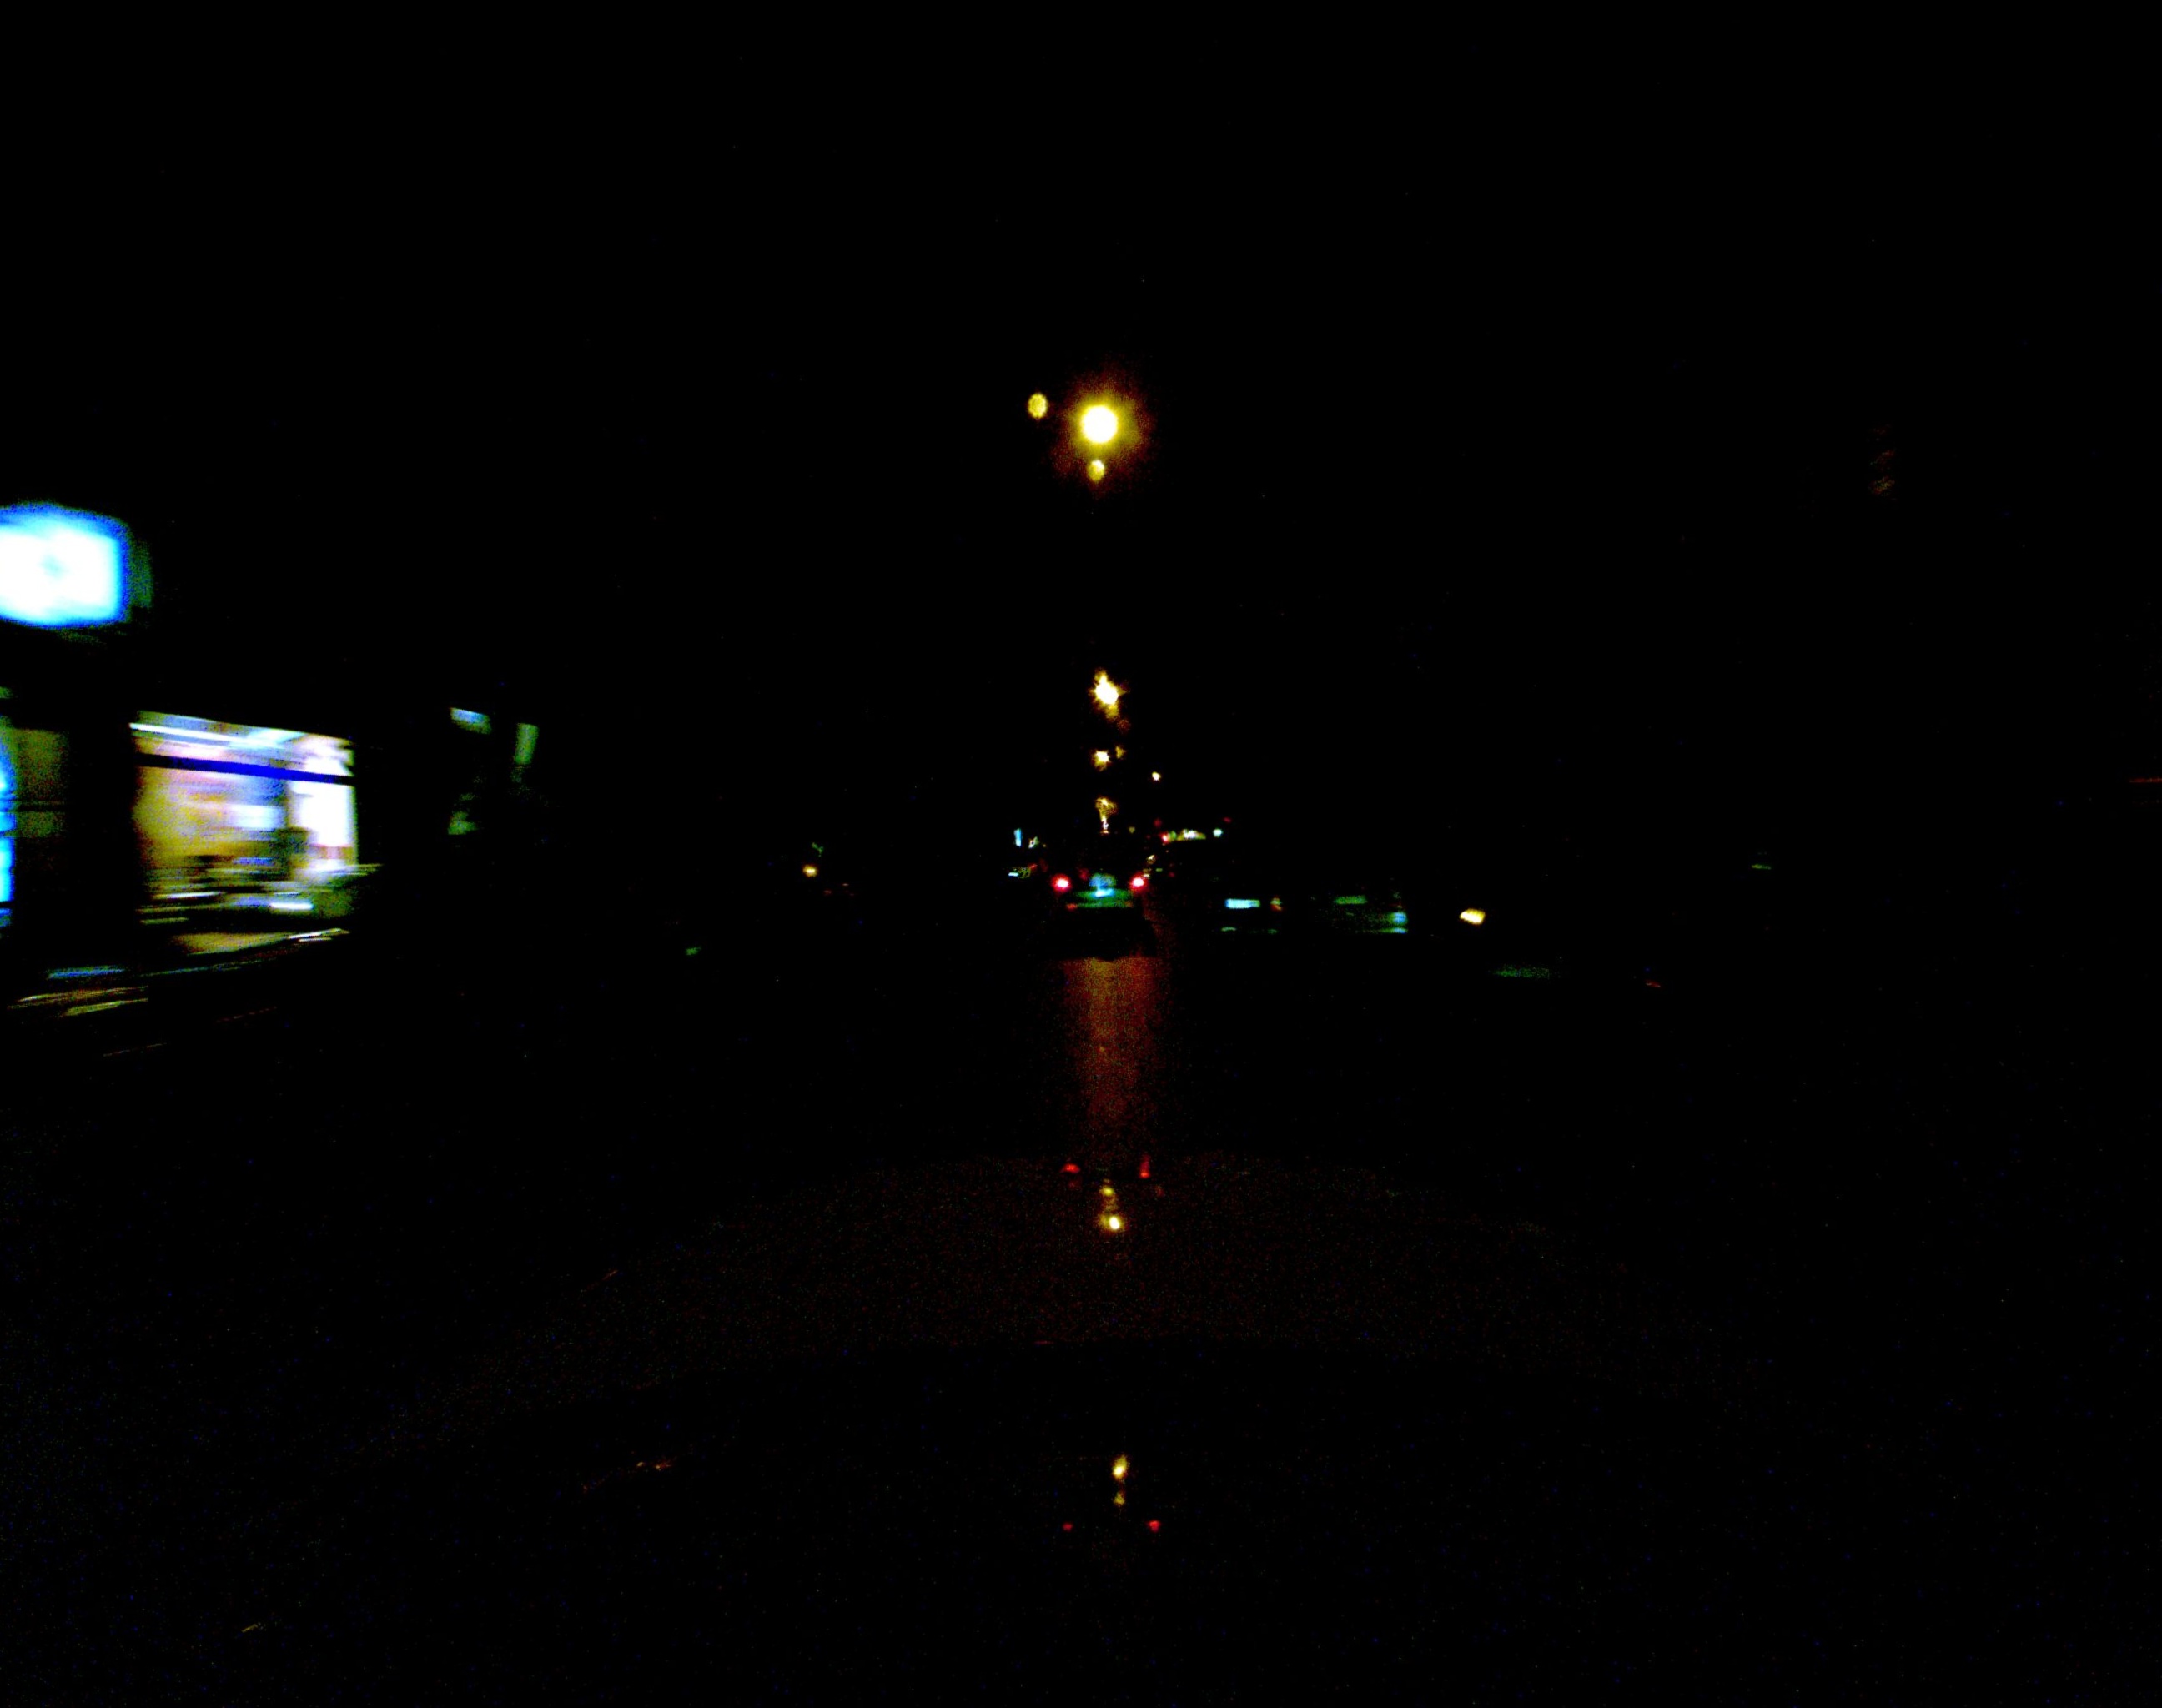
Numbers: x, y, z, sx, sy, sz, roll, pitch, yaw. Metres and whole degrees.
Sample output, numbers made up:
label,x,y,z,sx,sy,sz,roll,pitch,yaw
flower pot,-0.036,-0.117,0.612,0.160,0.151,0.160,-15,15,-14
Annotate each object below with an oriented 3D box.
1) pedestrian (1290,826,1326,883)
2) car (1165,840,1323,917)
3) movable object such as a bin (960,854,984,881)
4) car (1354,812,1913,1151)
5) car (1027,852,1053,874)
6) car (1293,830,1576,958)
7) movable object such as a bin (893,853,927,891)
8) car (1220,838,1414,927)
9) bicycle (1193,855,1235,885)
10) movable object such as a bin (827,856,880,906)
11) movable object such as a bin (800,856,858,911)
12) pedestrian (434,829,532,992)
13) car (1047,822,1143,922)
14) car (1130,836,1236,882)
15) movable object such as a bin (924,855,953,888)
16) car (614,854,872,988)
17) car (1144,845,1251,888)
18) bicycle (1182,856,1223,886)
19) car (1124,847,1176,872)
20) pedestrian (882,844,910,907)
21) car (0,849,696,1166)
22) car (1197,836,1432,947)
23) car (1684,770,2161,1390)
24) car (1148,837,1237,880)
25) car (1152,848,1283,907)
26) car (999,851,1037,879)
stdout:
label,x,y,z,sx,sy,sz,roll,pitch,yaw
pedestrian,7.824,0.010,28.087,0.866,1.856,0.993,-4,0,-1
car,3.832,0.506,18.910,3.671,1.580,1.574,-1,0,-38
movable object such as a bin,-5.891,0.726,44.000,1.043,1.398,1.159,0,0,4
car,3.973,0.563,5.675,4.016,1.552,1.785,-3,0,-34
car,-2.982,0.638,60.062,1.808,1.557,4.074,-1,0,-2
car,5.076,0.473,11.551,4.015,1.452,1.671,-3,0,-32
movable object such as a bin,-6.587,0.669,31.376,0.970,1.420,1.134,0,0,4
car,4.798,0.507,16.488,3.661,1.580,1.579,-1,0,-27
bicycle,5.060,0.605,31.173,0.521,1.076,1.810,-3,0,-29
movable object such as a bin,-6.667,0.783,23.920,1.136,1.420,1.250,0,0,4
movable object such as a bin,-6.833,0.781,22.144,1.136,1.420,1.155,0,0,4
pedestrian,-6.760,0.621,9.227,0.637,1.781,0.550,-2,0,2
car,0.360,0.394,19.084,1.986,2.050,4.001,-1,-1,2
car,4.945,0.206,39.307,4.813,2.048,2.047,-2,0,-29
movable object such as a bin,-6.079,0.735,34.805,0.970,1.398,1.134,0,0,4
car,-4.366,0.755,11.338,1.680,1.455,4.317,0,0,1
car,4.786,0.494,33.398,4.007,1.492,1.720,-4,0,-25
bicycle,4.592,0.635,30.897,0.521,1.076,1.810,-3,0,-29
car,5.078,0.428,59.765,3.581,1.590,1.588,-4,0,-35
pedestrian,-5.390,0.616,23.766,0.589,1.820,0.795,1,0,2
car,-4.664,0.752,6.054,1.597,1.552,4.027,0,0,1
car,3.841,0.528,13.217,3.698,1.460,1.587,-3,0,-34
car,4.317,0.495,3.203,4.018,1.552,1.978,-3,0,-36
car,5.024,0.208,36.636,3.574,1.711,1.631,-4,0,-28
car,3.957,0.616,23.447,3.668,1.580,1.576,0,0,-34
car,-3.400,0.570,44.566,1.580,1.482,3.796,-1,0,3
